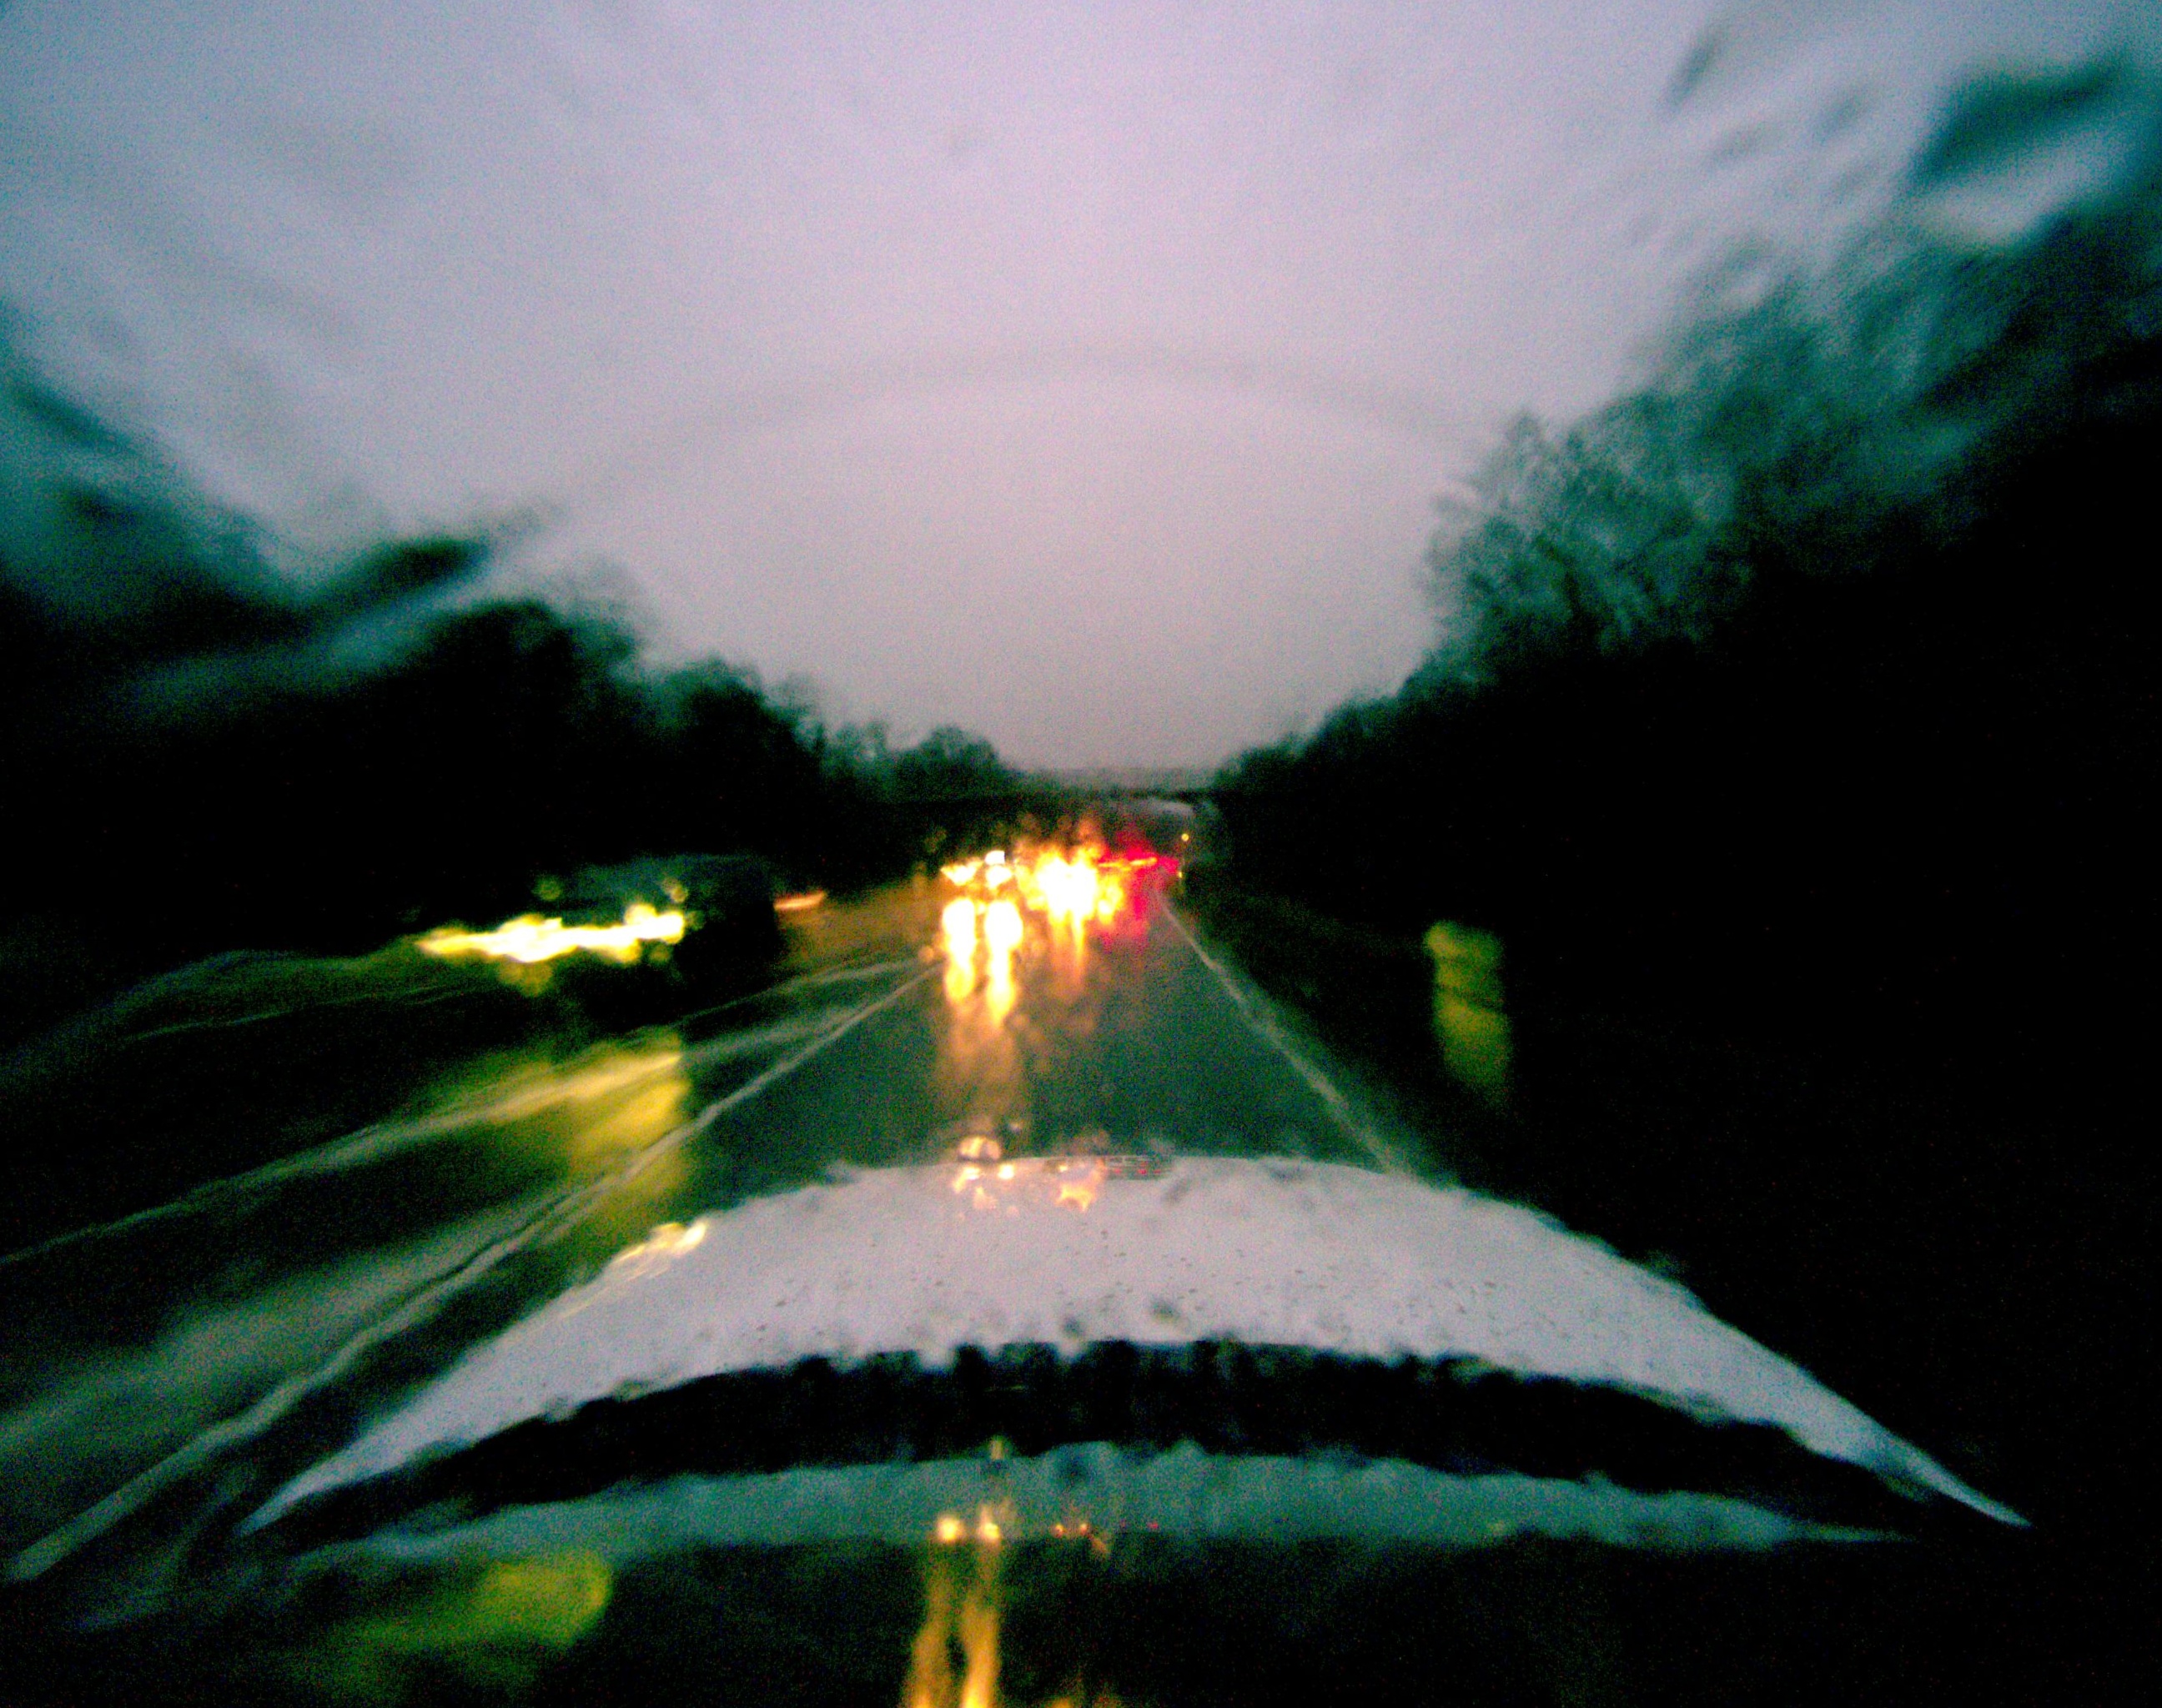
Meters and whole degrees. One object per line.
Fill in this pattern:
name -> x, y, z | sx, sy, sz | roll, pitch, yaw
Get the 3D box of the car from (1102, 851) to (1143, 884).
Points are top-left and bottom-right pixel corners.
car -> 2.021, 0.602, 38.787 | 1.670, 1.389, 4.105 | -3, 0, 6

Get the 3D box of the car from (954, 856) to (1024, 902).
car -> -3.510, 0.935, 31.900 | 1.851, 1.647, 4.473 | -2, -1, 5

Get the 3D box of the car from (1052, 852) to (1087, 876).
car -> -0.698, 0.637, 53.034 | 1.796, 1.453, 4.384 | -1, 0, 4

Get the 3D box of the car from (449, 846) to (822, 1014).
car -> -5.228, 0.752, 10.521 | 1.894, 1.648, 4.733 | -1, 0, 4

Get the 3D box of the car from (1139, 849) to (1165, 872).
car -> 5.528, 0.480, 63.068 | 1.669, 1.675, 4.108 | -3, 0, 9
